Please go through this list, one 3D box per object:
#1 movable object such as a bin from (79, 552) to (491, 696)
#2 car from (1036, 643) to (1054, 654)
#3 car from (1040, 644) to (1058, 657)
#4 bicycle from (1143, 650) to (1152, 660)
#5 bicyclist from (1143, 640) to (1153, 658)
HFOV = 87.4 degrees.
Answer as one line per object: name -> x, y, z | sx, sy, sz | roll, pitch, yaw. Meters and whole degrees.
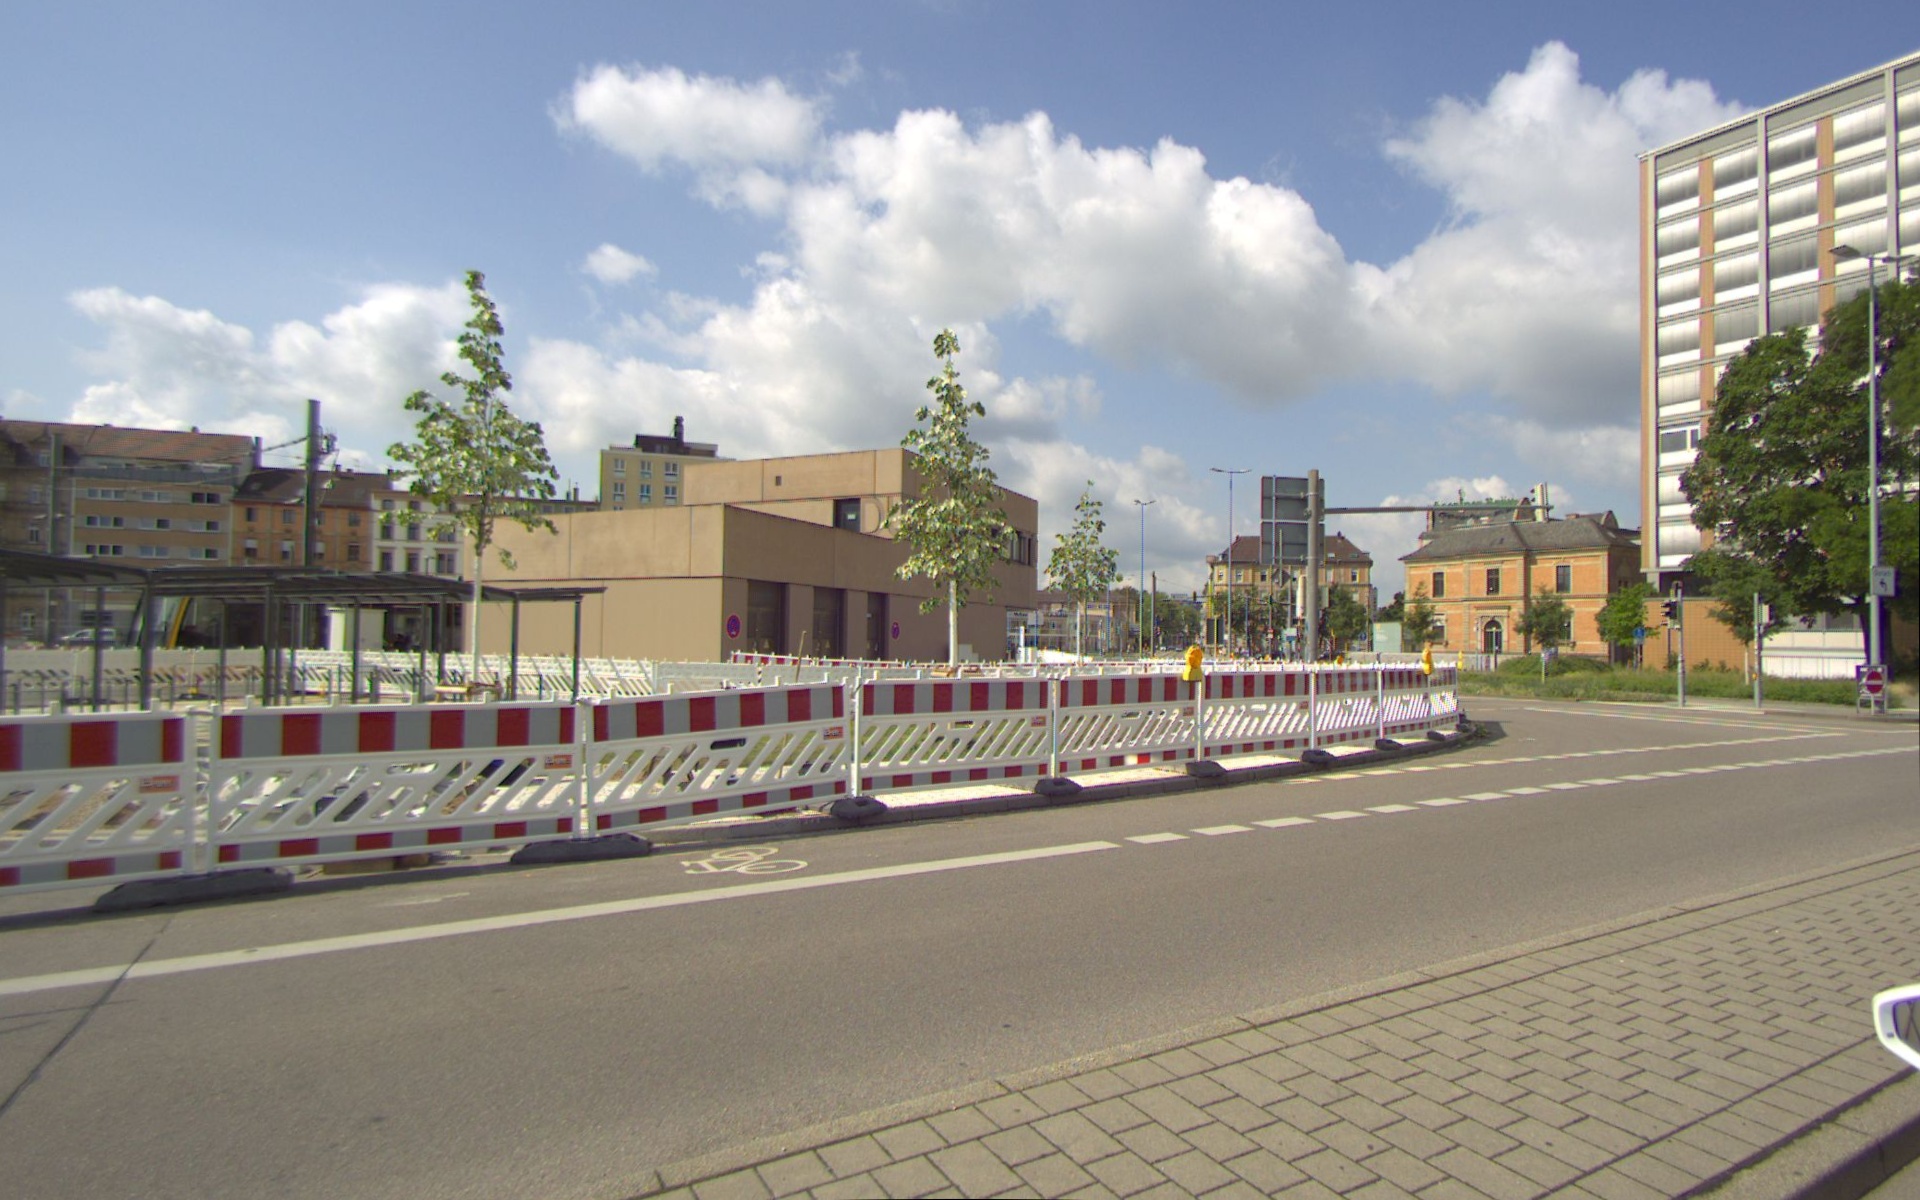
movable object such as a bin -> -18.811, 0.774, 29.121 | 2.965, 3.468, 9.678 | 0, -2, 26
car -> 11.903, 6.797, 140.347 | 1.959, 1.550, 4.003 | 0, -2, 11
car -> 12.396, 7.032, 139.912 | 1.814, 1.742, 4.003 | 0, -2, 14
bicycle -> 19.366, 5.669, 103.877 | 0.606, 1.015, 2.019 | 0, -3, 19
bicyclist -> 19.456, 5.078, 104.049 | 0.797, 1.846, 1.159 | 0, -2, 20
